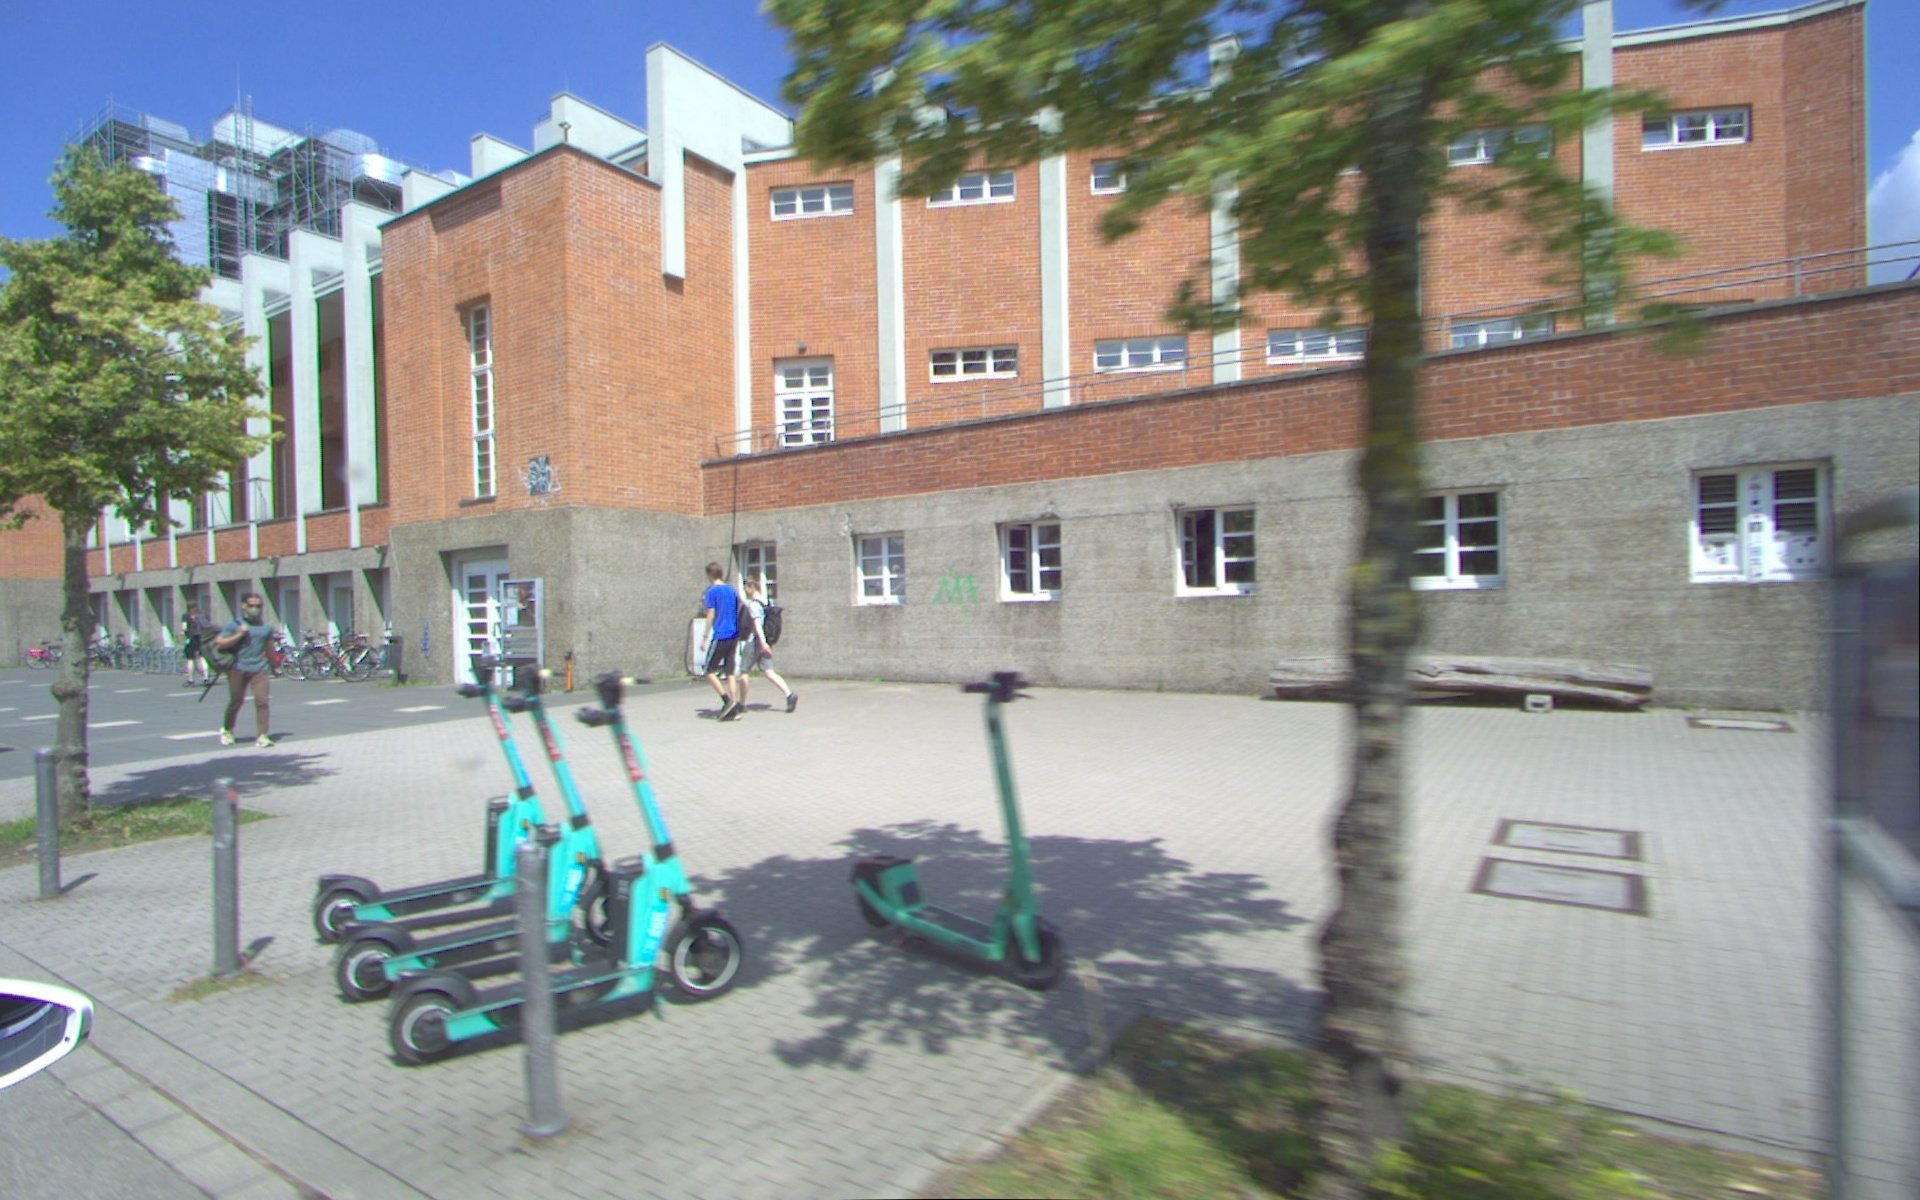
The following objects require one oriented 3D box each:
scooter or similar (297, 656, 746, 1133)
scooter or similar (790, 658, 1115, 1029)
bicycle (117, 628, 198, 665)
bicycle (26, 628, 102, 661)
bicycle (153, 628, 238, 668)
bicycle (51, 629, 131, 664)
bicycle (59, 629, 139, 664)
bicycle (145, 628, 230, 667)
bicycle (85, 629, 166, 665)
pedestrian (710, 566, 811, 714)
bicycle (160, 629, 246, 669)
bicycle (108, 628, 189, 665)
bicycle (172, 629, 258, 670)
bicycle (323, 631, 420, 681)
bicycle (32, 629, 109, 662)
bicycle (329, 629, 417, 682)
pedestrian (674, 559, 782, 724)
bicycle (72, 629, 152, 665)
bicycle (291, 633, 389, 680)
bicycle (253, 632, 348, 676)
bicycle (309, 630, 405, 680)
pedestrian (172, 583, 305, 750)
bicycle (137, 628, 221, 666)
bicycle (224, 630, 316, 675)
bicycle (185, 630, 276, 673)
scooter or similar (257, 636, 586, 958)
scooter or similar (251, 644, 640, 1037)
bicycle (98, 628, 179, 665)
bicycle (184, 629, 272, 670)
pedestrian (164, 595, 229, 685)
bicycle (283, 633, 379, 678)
[{"bbox_3d":[-1.425,0.866,3.389,1.244,1.282,0.648,-1,0,-24],"label":"scooter or similar"},{"bbox_3d":[-0.074,0.854,4.033,0.643,1.176,1.254,-1,0,-40],"label":"scooter or similar"},{"bbox_3d":[-24.134,1.391,30.154,0.552,0.998,1.804,-1,1,33],"label":"bicycle"},{"bbox_3d":[-30.273,1.503,33.845,0.552,0.998,1.804,-1,1,33],"label":"bicycle"},{"bbox_3d":[-21.511,1.339,28.216,0.552,0.998,1.804,-1,1,33],"label":"bicycle"},{"bbox_3d":[-27.659,1.462,31.899,0.552,0.998,1.804,-1,1,33],"label":"bicycle"},{"bbox_3d":[-27.073,1.451,31.523,0.552,0.998,1.804,-1,1,33],"label":"bicycle"},{"bbox_3d":[-22.026,1.343,28.585,0.552,0.998,1.804,-1,1,33],"label":"bicycle"},{"bbox_3d":[-25.684,1.422,30.835,0.552,0.998,1.804,-1,1,33],"label":"bicycle"},{"bbox_3d":[-2.553,0.495,12.873,0.977,1.829,0.701,-1,3,21],"label":"pedestrian"},{"bbox_3d":[-21.040,1.342,27.878,0.552,0.998,1.804,-1,1,33],"label":"bicycle"},{"bbox_3d":[-24.584,1.392,30.361,0.552,0.998,1.804,-1,1,33],"label":"bicycle"},{"bbox_3d":[-20.443,1.346,27.515,0.552,0.998,1.804,-1,1,33],"label":"bicycle"},{"bbox_3d":[-12.980,1.213,22.141,0.552,0.982,1.786,-1,1,33],"label":"bicycle"},{"bbox_3d":[-29.527,1.494,33.251,0.552,0.998,1.804,-1,1,33],"label":"bicycle"},{"bbox_3d":[-12.587,1.168,21.515,0.552,1.047,1.531,-1,1,33],"label":"bicycle"},{"bbox_3d":[-2.803,0.486,12.153,0.976,1.918,0.701,-1,3,20],"label":"pedestrian"},{"bbox_3d":[-26.348,1.434,31.137,0.552,0.998,1.804,-1,1,33],"label":"bicycle"},{"bbox_3d":[-14.057,1.264,22.747,0.552,0.924,1.804,-1,1,33],"label":"bicycle"},{"bbox_3d":[-15.838,1.290,24.095,0.552,0.924,1.804,-1,1,33],"label":"bicycle"},{"bbox_3d":[-13.511,1.212,22.490,0.552,0.991,1.779,-1,1,32],"label":"bicycle"},{"bbox_3d":[-8.113,0.713,11.263,1.145,1.756,0.850,-1,2,37],"label":"pedestrian"},{"bbox_3d":[-22.515,1.341,28.910,0.552,0.998,1.804,-1,1,33],"label":"bicycle"},{"bbox_3d":[-17.265,1.288,25.090,0.552,0.998,1.804,-1,1,33],"label":"bicycle"},{"bbox_3d":[-18.948,1.312,26.048,0.552,0.998,1.804,-1,1,33],"label":"bicycle"},{"bbox_3d":[-2.445,0.835,4.683,1.244,1.282,0.637,-1,0,-24],"label":"scooter or similar"},{"bbox_3d":[-1.961,0.843,3.962,1.244,1.282,0.648,-1,0,-24],"label":"scooter or similar"},{"bbox_3d":[-25.109,1.412,30.619,0.552,0.998,1.804,-1,1,33],"label":"bicycle"},{"bbox_3d":[-19.780,1.319,27.088,0.552,0.998,1.804,-1,1,33],"label":"bicycle"},{"bbox_3d":[-16.493,0.857,21.624,1.101,1.884,0.787,-1,1,35],"label":"pedestrian"},{"bbox_3d":[-14.656,1.271,23.372,0.552,0.924,1.804,-1,1,33],"label":"bicycle"}]
